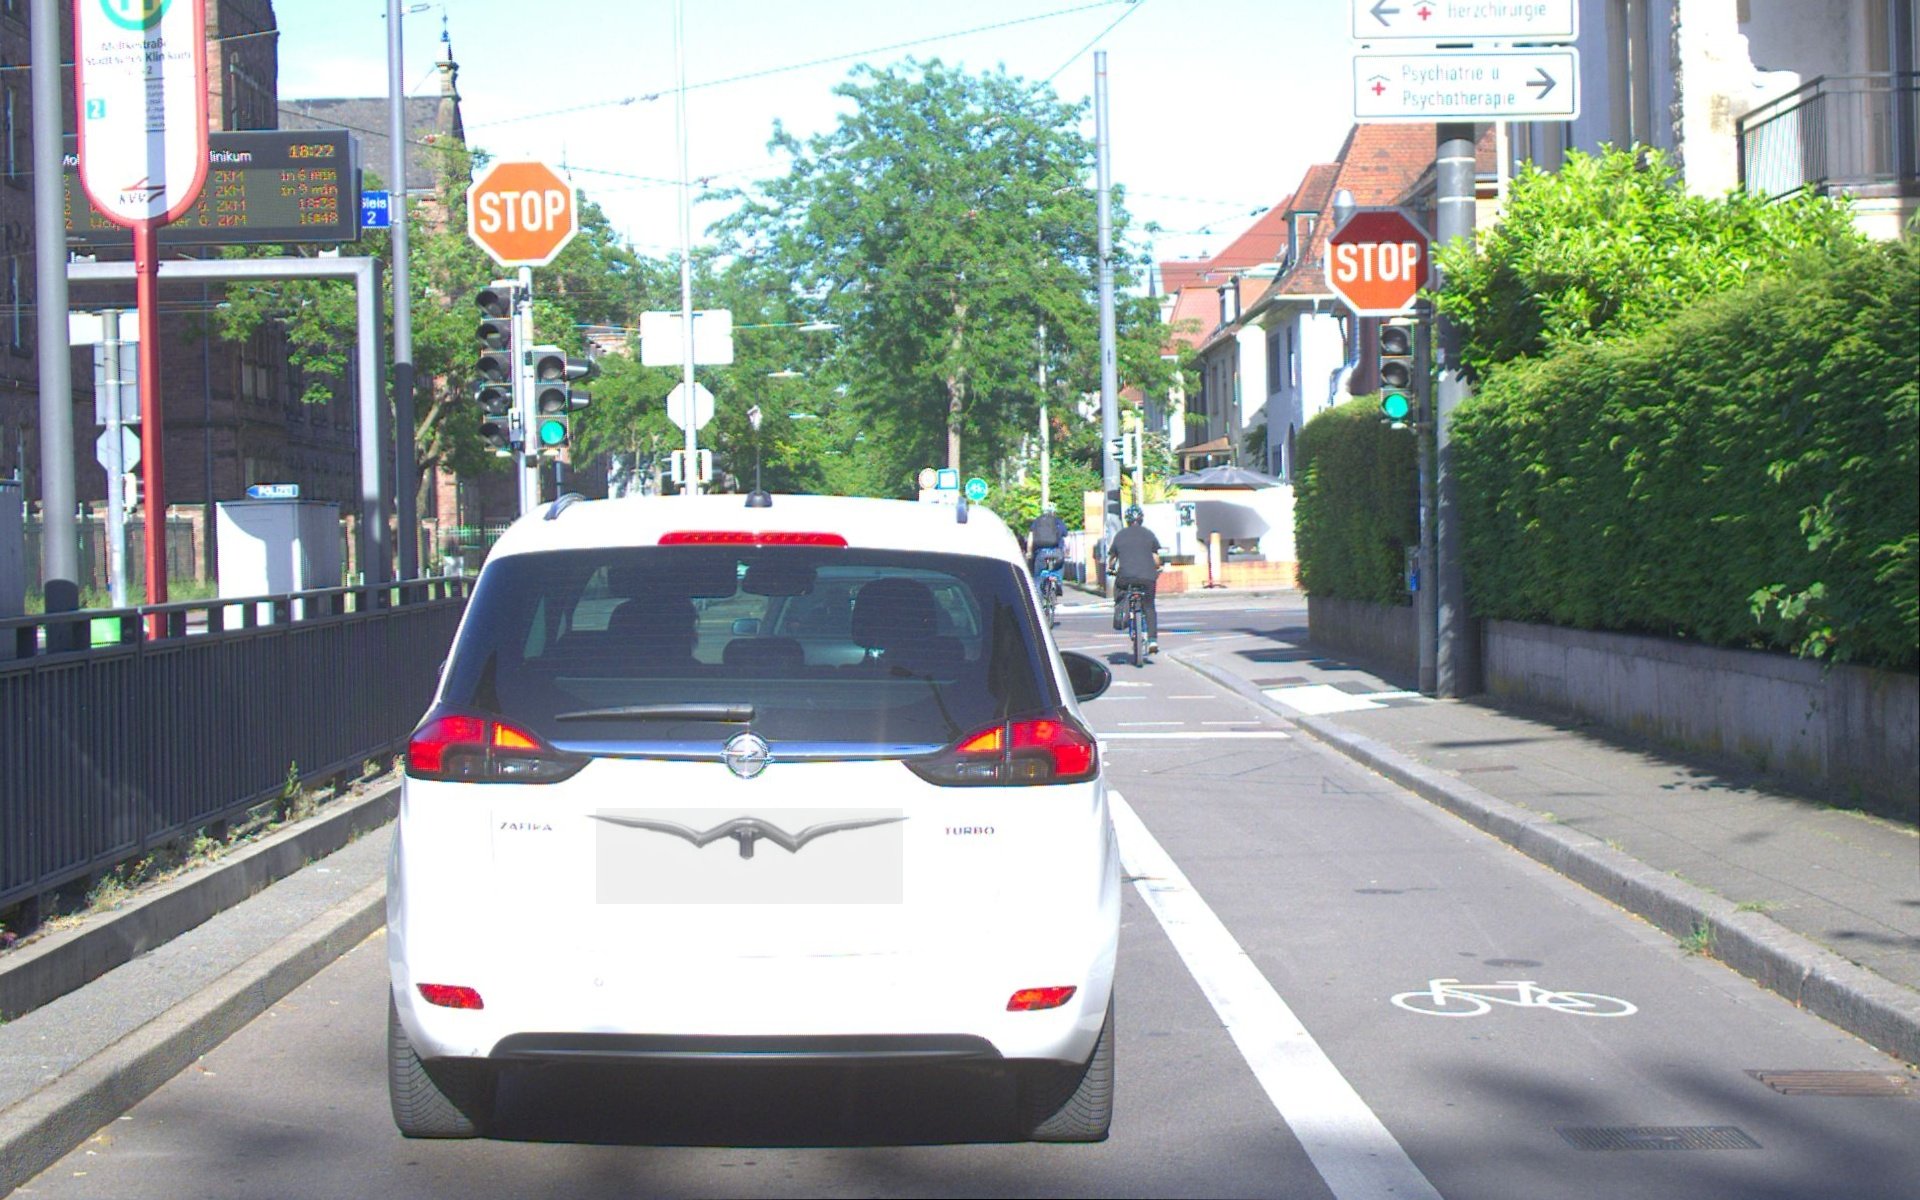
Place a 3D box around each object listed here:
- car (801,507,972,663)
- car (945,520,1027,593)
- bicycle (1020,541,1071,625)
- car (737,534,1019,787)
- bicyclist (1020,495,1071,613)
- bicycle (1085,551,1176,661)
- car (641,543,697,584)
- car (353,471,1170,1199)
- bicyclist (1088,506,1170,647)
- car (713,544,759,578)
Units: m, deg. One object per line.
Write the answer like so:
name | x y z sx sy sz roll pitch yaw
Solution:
car | -0.780 -0.186 37.927 1.776 1.626 3.881 0 1 0
car | 0.622 -1.013 79.408 1.776 1.626 3.880 0 1 2
bicycle | 1.204 -0.248 48.171 0.685 1.153 1.619 0 1 2
car | -0.446 0.318 22.001 1.586 1.415 3.900 -1 1 1
bicyclist | 1.204 -0.649 48.223 0.685 1.629 1.015 0 1 2
bicycle | 1.830 0.052 37.188 0.829 1.150 2.095 0 1 -1
car | -10.413 -1.329 123.085 1.581 1.436 3.584 0 1 2
car | -0.443 0.506 9.734 1.835 1.636 3.919 0 1 0
bicyclist | 1.820 -0.259 37.151 0.821 1.496 0.934 0 1 -1
car | -9.501 -1.663 145.946 1.581 1.436 3.584 0 1 2
